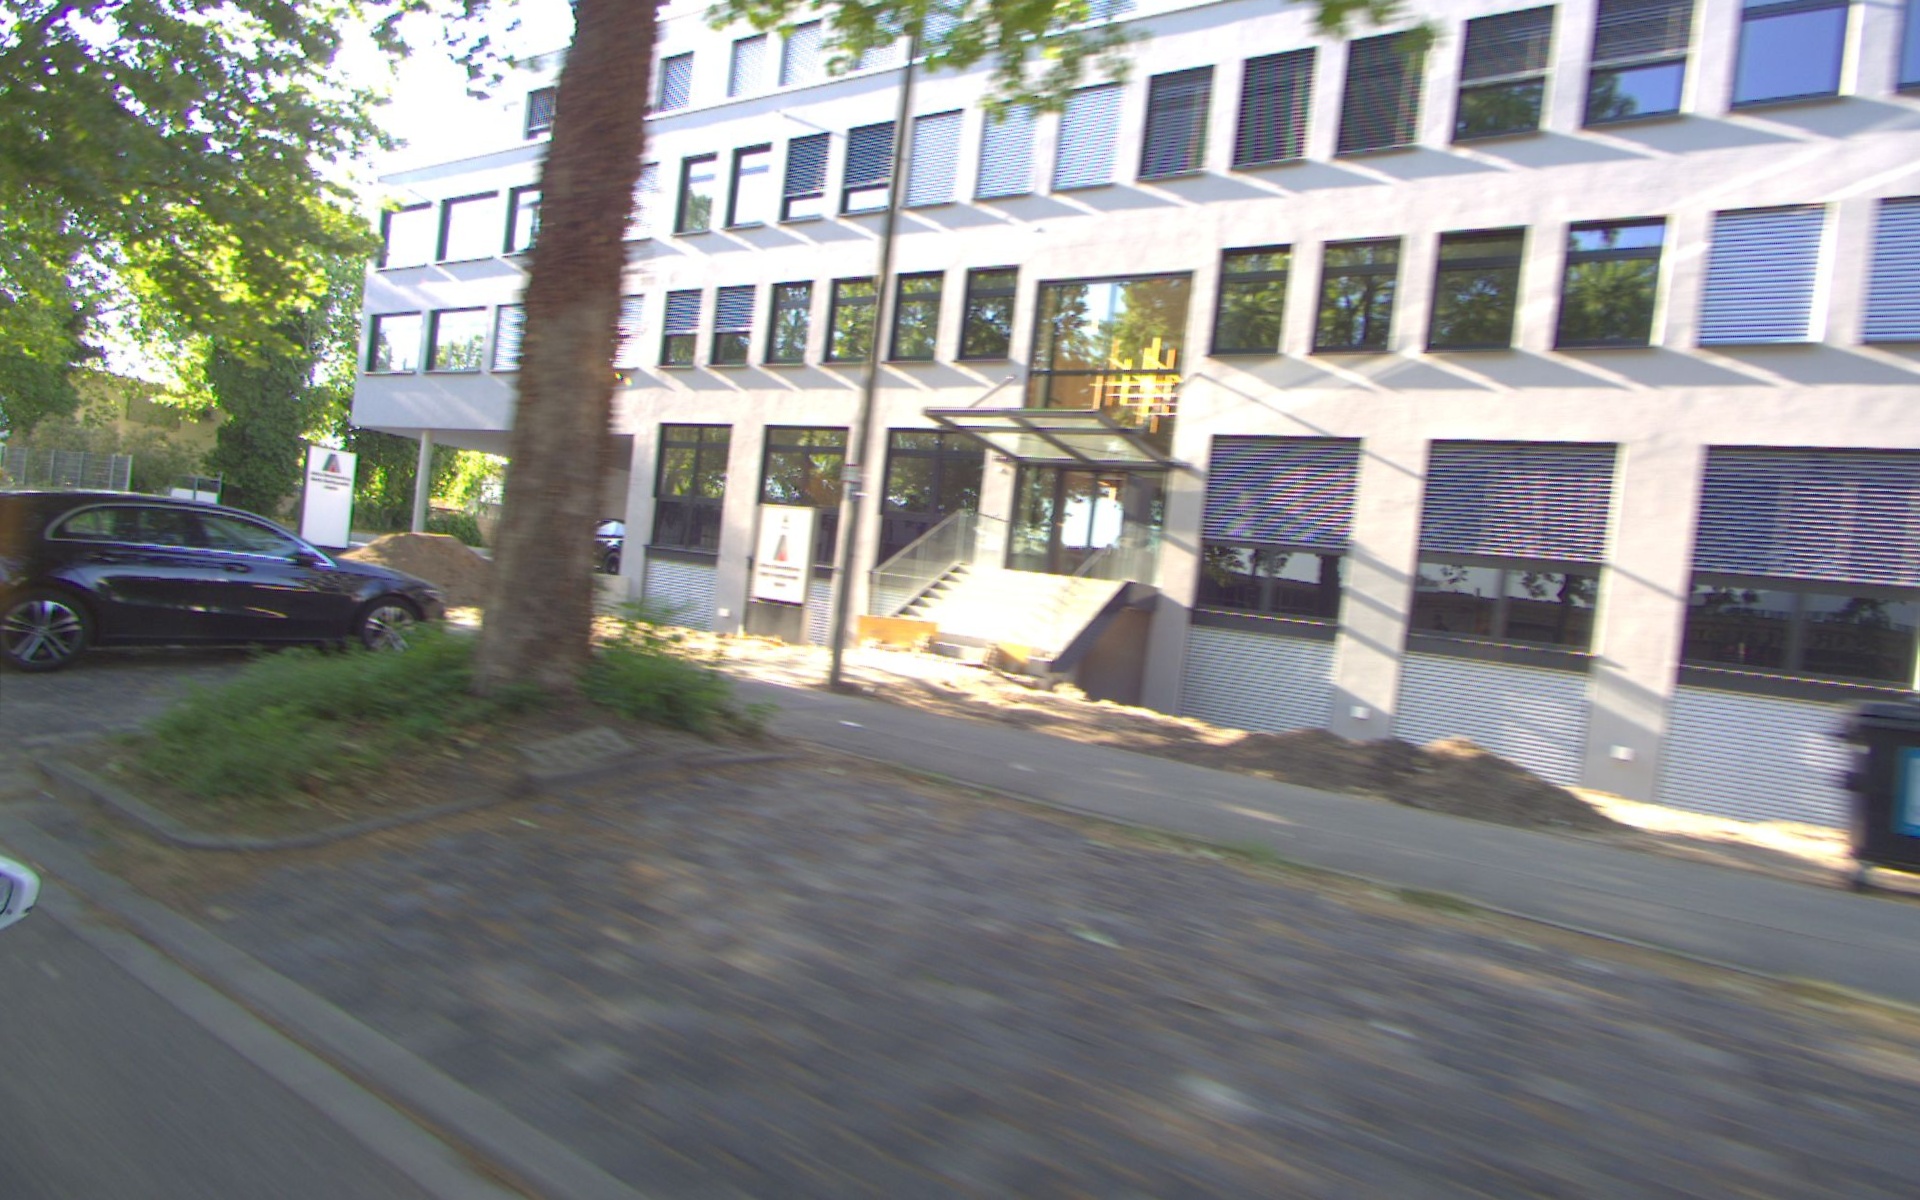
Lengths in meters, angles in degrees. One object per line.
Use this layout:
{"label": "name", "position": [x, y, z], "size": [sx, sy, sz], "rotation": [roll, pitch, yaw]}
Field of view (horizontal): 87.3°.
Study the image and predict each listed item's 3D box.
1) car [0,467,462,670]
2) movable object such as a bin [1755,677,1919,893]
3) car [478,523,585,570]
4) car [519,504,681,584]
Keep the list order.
{"label": "car", "position": [-7.152, -0.311, 9.248], "size": [1.829, 1.506, 4.284], "rotation": [7, 3, 30]}
{"label": "movable object such as a bin", "position": [6.782, 1.344, 7.132], "size": [1.594, 1.366, 0.749], "rotation": [7, -1, 32]}
{"label": "car", "position": [-20.203, -2.529, 47.374], "size": [4.691, 1.563, 1.999], "rotation": [7, -2, 28]}
{"label": "car", "position": [-10.329, -1.634, 28.744], "size": [4.597, 1.751, 1.995], "rotation": [6, -2, 37]}
